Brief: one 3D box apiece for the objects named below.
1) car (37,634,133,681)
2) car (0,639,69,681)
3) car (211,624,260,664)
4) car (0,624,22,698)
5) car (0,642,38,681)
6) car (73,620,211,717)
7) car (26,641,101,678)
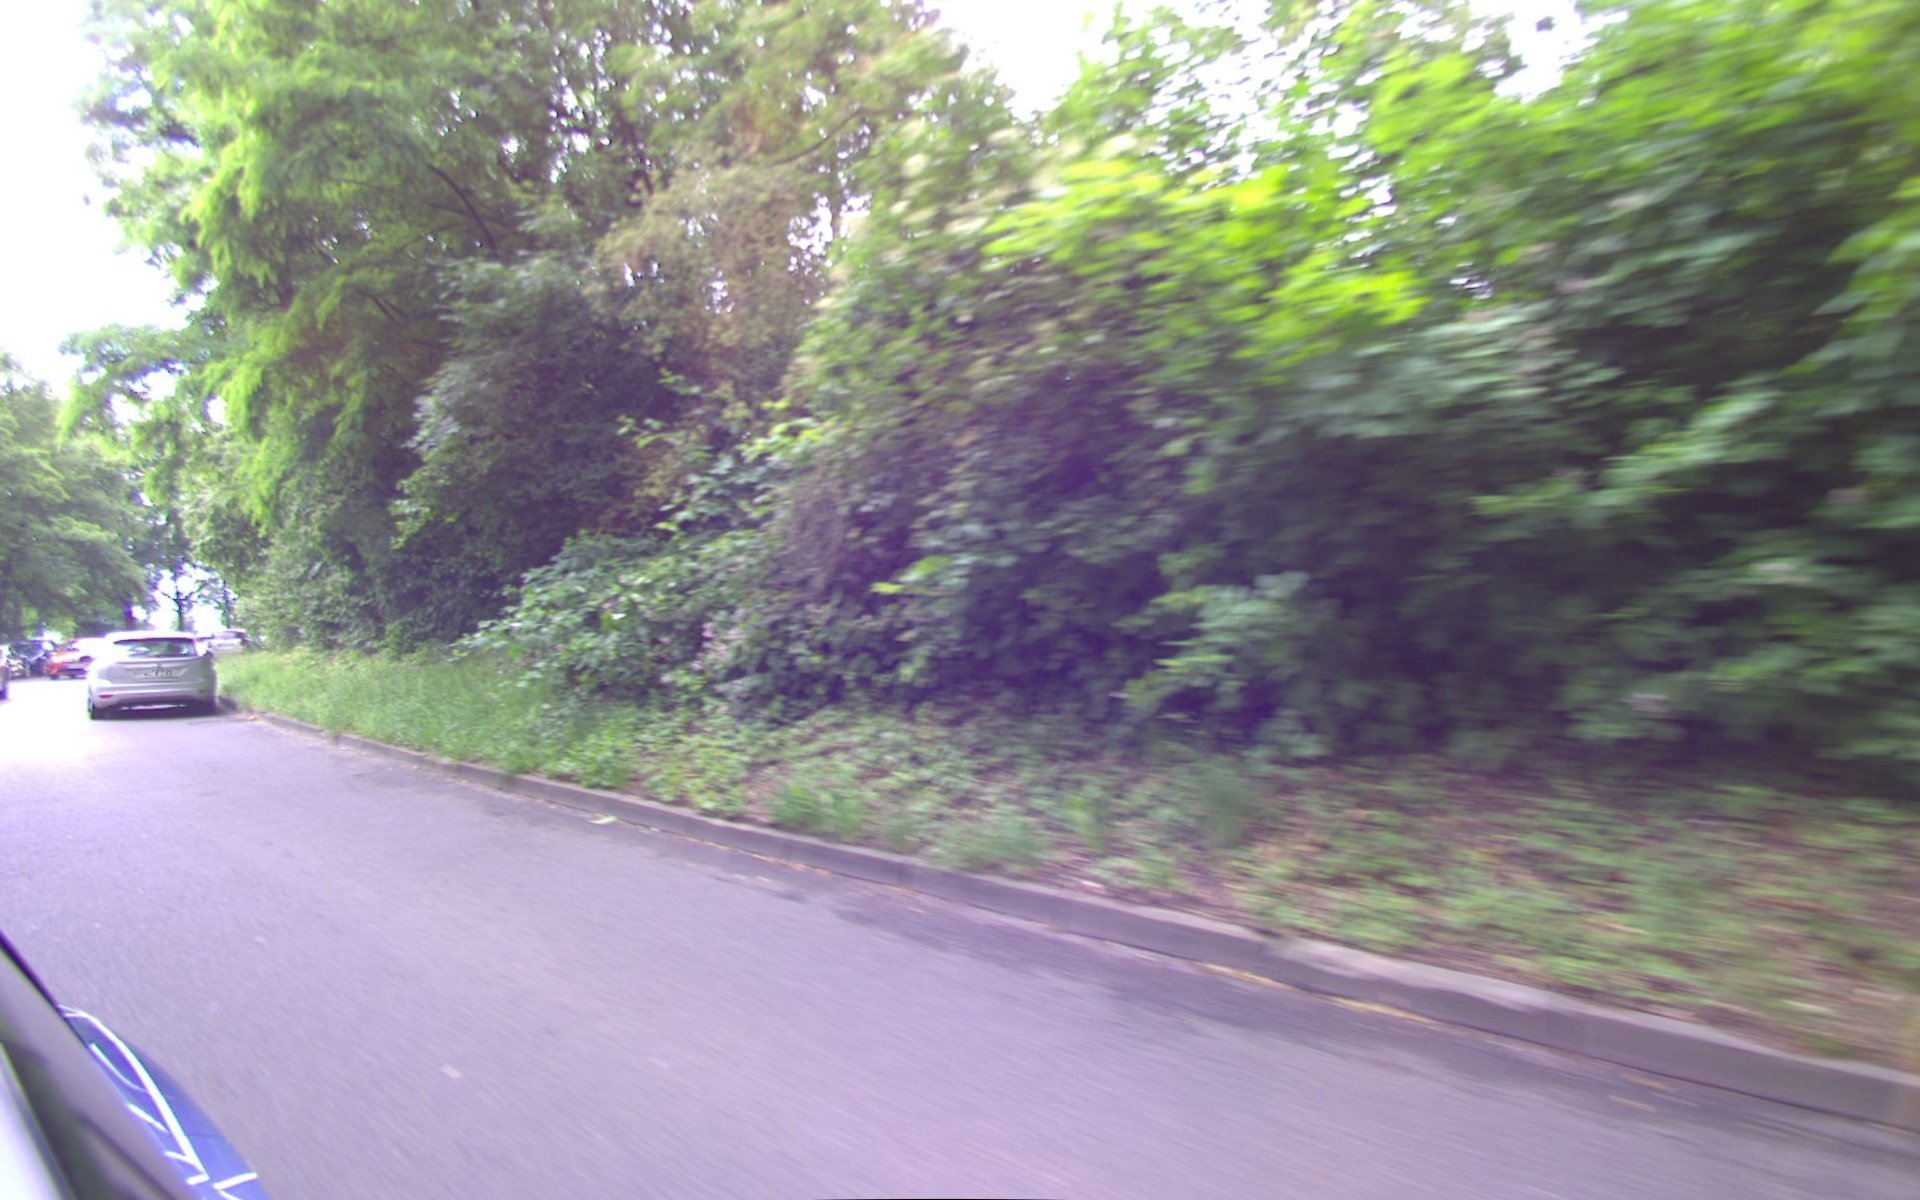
[{"bbox_3d":[-31.736,2.031,36.833,1.926,1.483,4.690,-2,0,-32],"label":"car"},{"bbox_3d":[-38.320,2.439,41.611,1.687,1.522,4.691,-2,0,-31],"label":"car"},{"bbox_3d":[-35.544,2.131,49.750,1.796,1.741,4.323,-2,1,-34],"label":"car"},{"bbox_3d":[-21.977,1.369,21.766,1.972,1.621,4.689,-2,0,-35],"label":"car"},{"bbox_3d":[-35.516,2.275,37.047,1.687,1.265,4.691,-2,0,-31],"label":"car"},{"bbox_3d":[-14.819,1.153,18.264,1.772,1.519,4.005,0,-1,-41],"label":"car"},{"bbox_3d":[-40.748,2.671,46.097,1.687,1.432,4.691,-2,0,-31],"label":"car"}]
